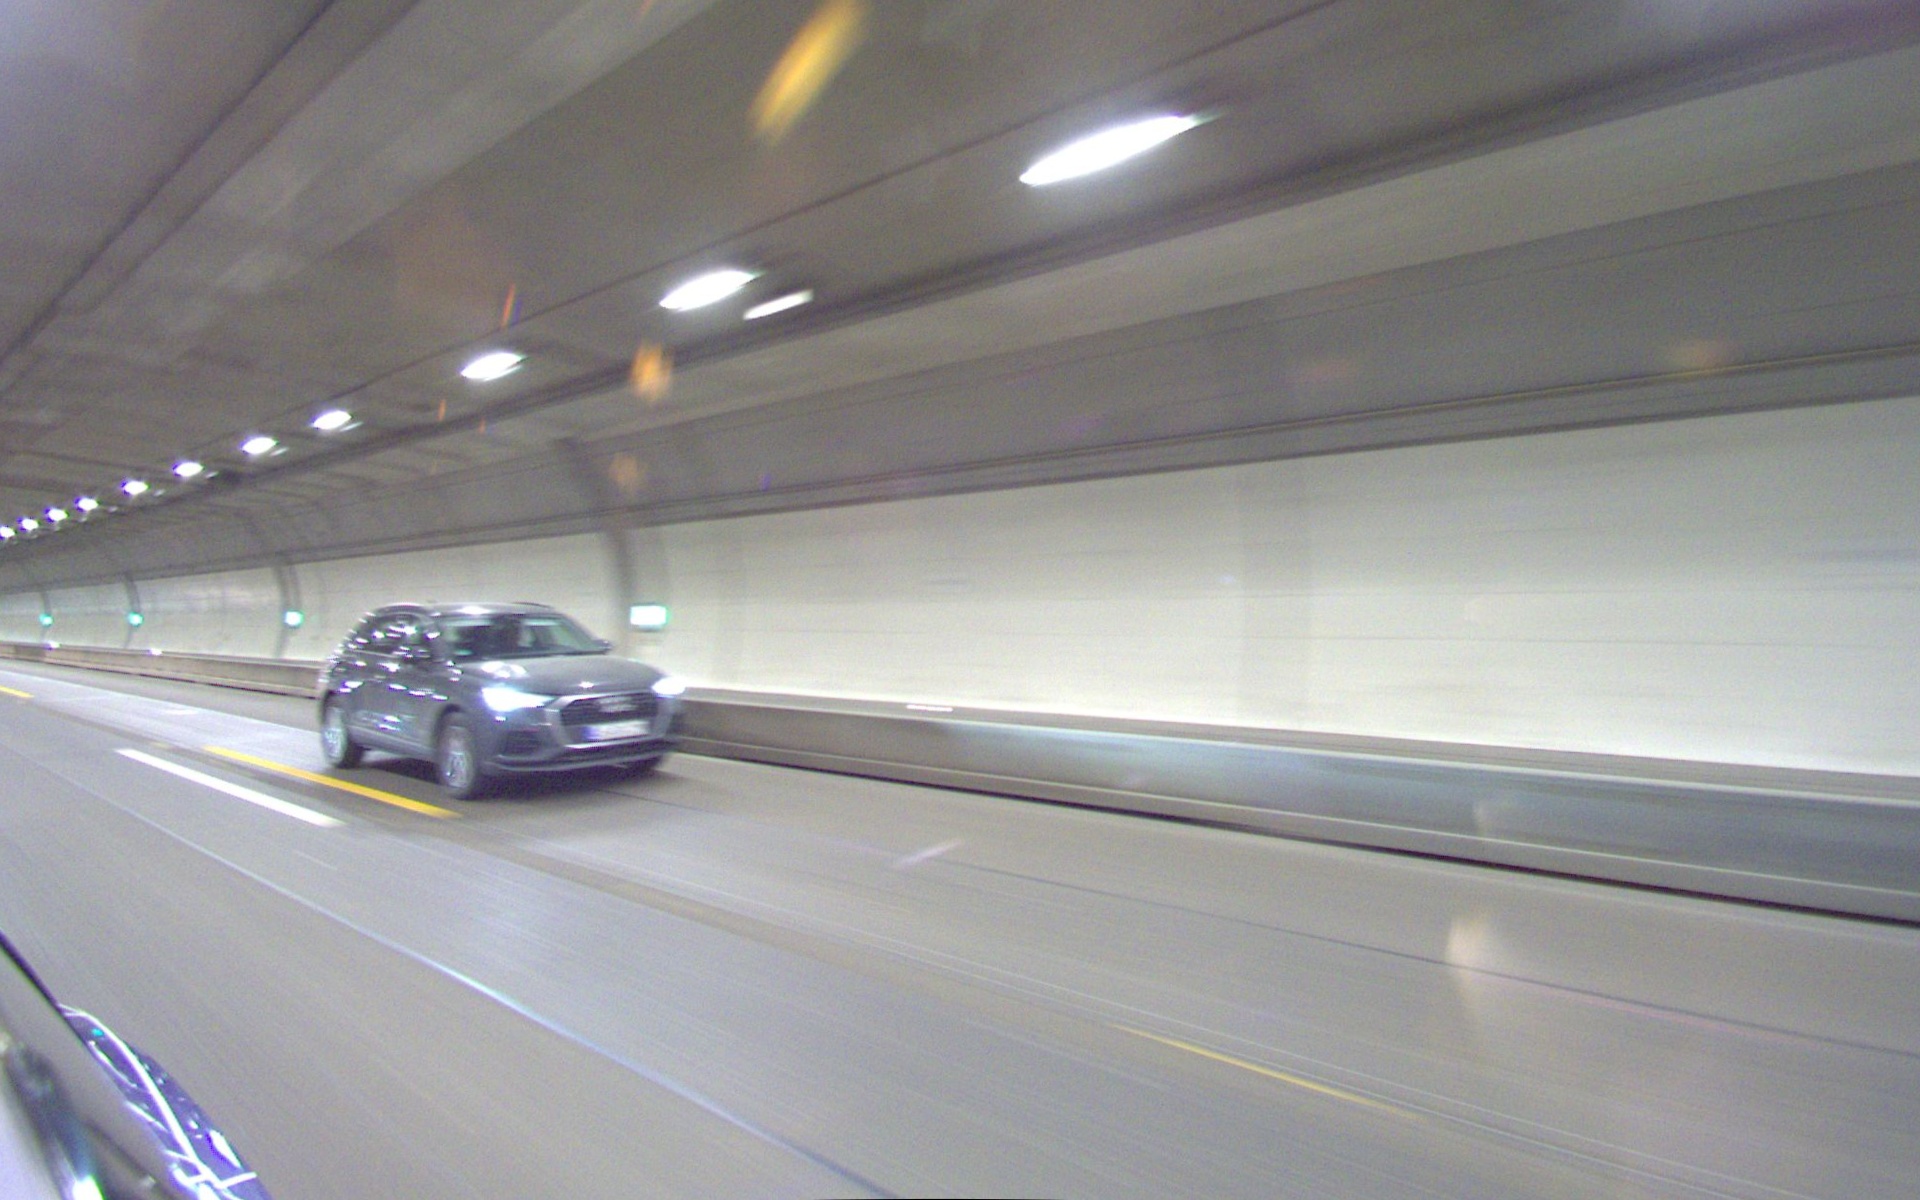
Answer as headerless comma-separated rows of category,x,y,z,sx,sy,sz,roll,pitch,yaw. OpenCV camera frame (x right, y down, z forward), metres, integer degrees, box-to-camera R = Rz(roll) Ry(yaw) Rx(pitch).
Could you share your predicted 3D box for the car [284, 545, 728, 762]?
car,-4.450,0.417,9.547,4.738,1.552,1.973,-1,-1,40
